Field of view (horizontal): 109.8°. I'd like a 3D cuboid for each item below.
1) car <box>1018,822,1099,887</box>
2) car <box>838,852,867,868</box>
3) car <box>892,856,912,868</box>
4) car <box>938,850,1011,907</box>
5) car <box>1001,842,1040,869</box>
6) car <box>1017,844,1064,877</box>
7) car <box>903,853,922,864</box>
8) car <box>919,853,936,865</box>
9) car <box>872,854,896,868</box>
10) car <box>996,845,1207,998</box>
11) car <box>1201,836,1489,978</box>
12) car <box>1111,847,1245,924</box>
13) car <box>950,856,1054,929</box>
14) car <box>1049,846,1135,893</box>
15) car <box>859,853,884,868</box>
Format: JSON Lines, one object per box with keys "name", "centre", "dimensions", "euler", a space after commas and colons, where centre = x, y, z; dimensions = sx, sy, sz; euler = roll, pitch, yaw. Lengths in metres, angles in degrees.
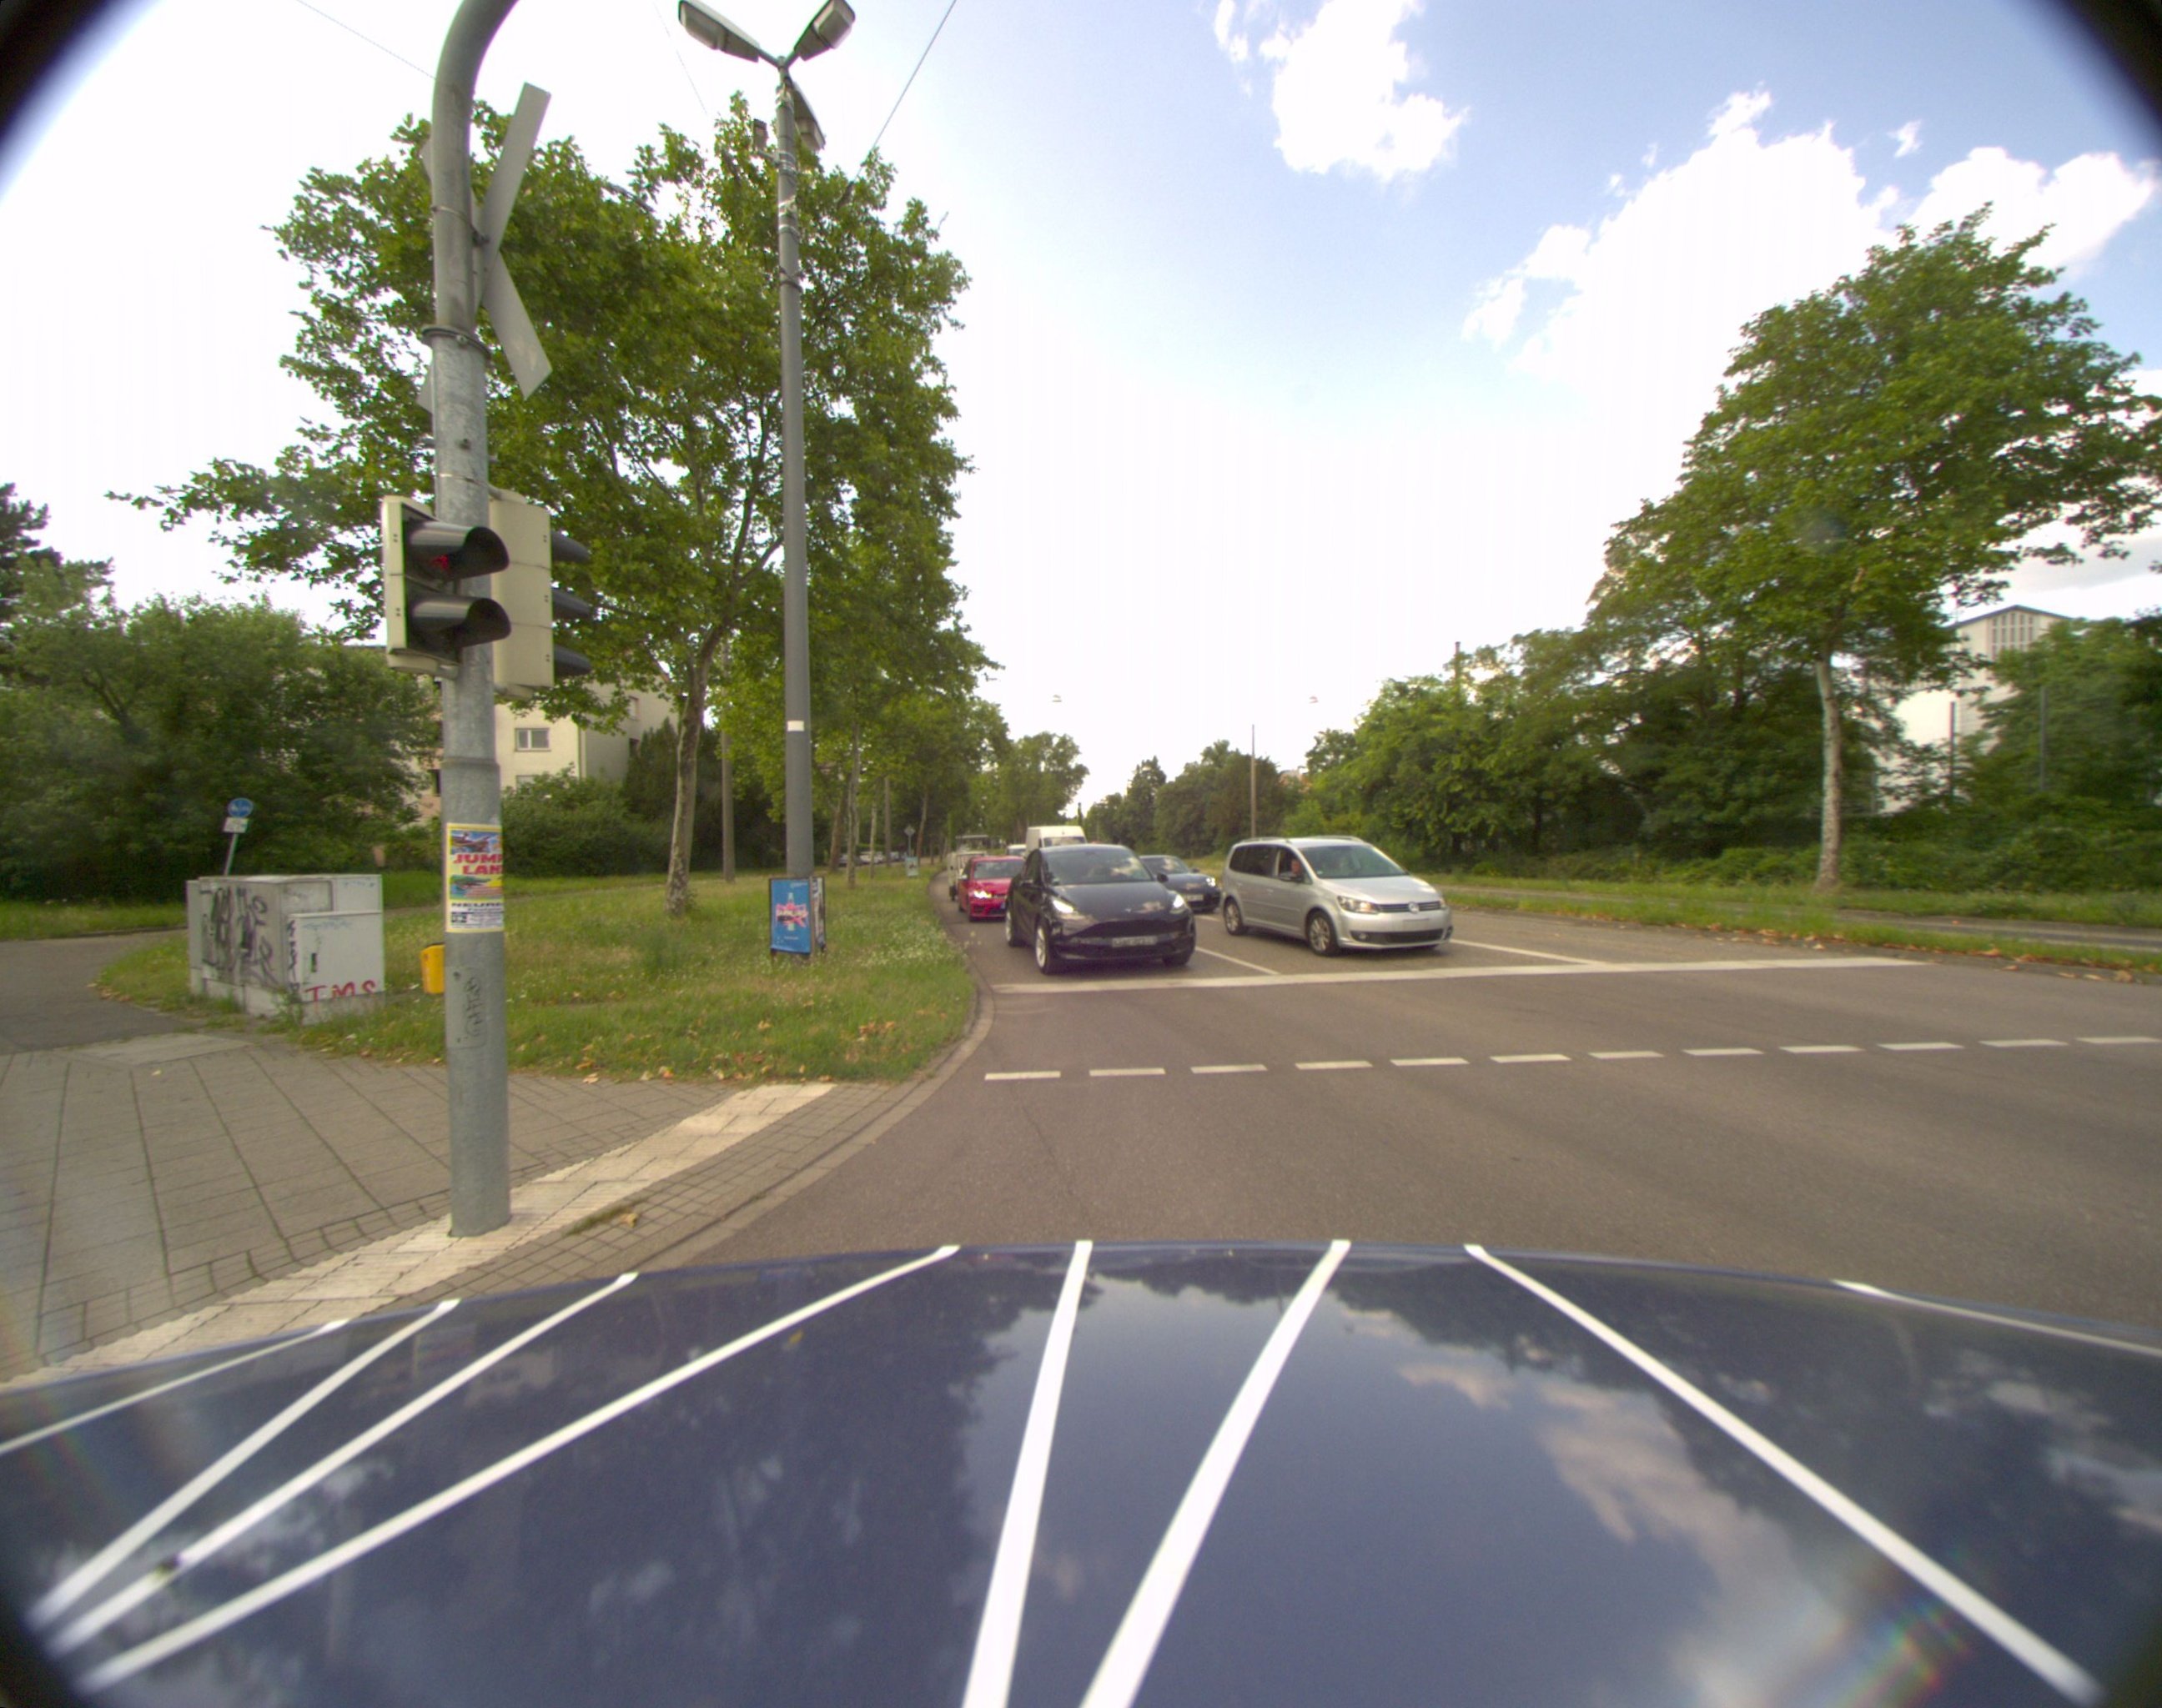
{"name": "car", "centre": [-1.139, -0.037, 33.525], "dimensions": [2.228, 2.516, 5.925], "euler": [-3, 1, -14]}
{"name": "car", "centre": [-23.639, 0.596, 78.613], "dimensions": [1.775, 1.586, 3.657], "euler": [-1, -1, 2]}
{"name": "car", "centre": [-24.241, 1.084, 103.073], "dimensions": [1.775, 1.586, 3.657], "euler": [-1, -1, 2]}
{"name": "car", "centre": [-3.534, 0.696, 24.549], "dimensions": [1.803, 1.561, 4.495], "euler": [-3, 1, -14]}
{"name": "car", "centre": [-3.953, 0.090, 49.065], "dimensions": [1.766, 1.637, 4.337], "euler": [-1, 1, -14]}
{"name": "car", "centre": [-2.247, 0.309, 41.227], "dimensions": [1.845, 1.609, 4.150], "euler": [-2, 1, -13]}
{"name": "car", "centre": [-24.564, 0.704, 110.964], "dimensions": [1.775, 1.586, 3.657], "euler": [-1, -1, 2]}
{"name": "car", "centre": [-24.569, 0.817, 121.732], "dimensions": [1.775, 1.925, 3.657], "euler": [-1, -1, 2]}
{"name": "car", "centre": [-23.852, 0.862, 92.054], "dimensions": [1.775, 1.586, 3.657], "euler": [-1, -1, 2]}
{"name": "car", "centre": [0.017, 0.729, 10.977], "dimensions": [1.932, 1.643, 4.574], "euler": [-3, 1, -13]}
{"name": "car", "centre": [3.663, 0.609, 11.568], "dimensions": [1.932, 1.643, 4.495], "euler": [-3, 1, -14]}
{"name": "car", "centre": [2.144, 0.633, 17.953], "dimensions": [1.805, 1.499, 3.995], "euler": [-3, 1, -13]}
{"name": "car", "centre": [-2.035, 0.815, 18.404], "dimensions": [1.803, 1.383, 4.495], "euler": [-3, 1, -14]}
{"name": "car", "centre": [0.269, 0.459, 25.737], "dimensions": [1.765, 1.367, 4.337], "euler": [-3, 1, -14]}
{"name": "car", "centre": [-24.111, 0.781, 87.641], "dimensions": [1.775, 1.586, 3.657], "euler": [-1, -1, 2]}
